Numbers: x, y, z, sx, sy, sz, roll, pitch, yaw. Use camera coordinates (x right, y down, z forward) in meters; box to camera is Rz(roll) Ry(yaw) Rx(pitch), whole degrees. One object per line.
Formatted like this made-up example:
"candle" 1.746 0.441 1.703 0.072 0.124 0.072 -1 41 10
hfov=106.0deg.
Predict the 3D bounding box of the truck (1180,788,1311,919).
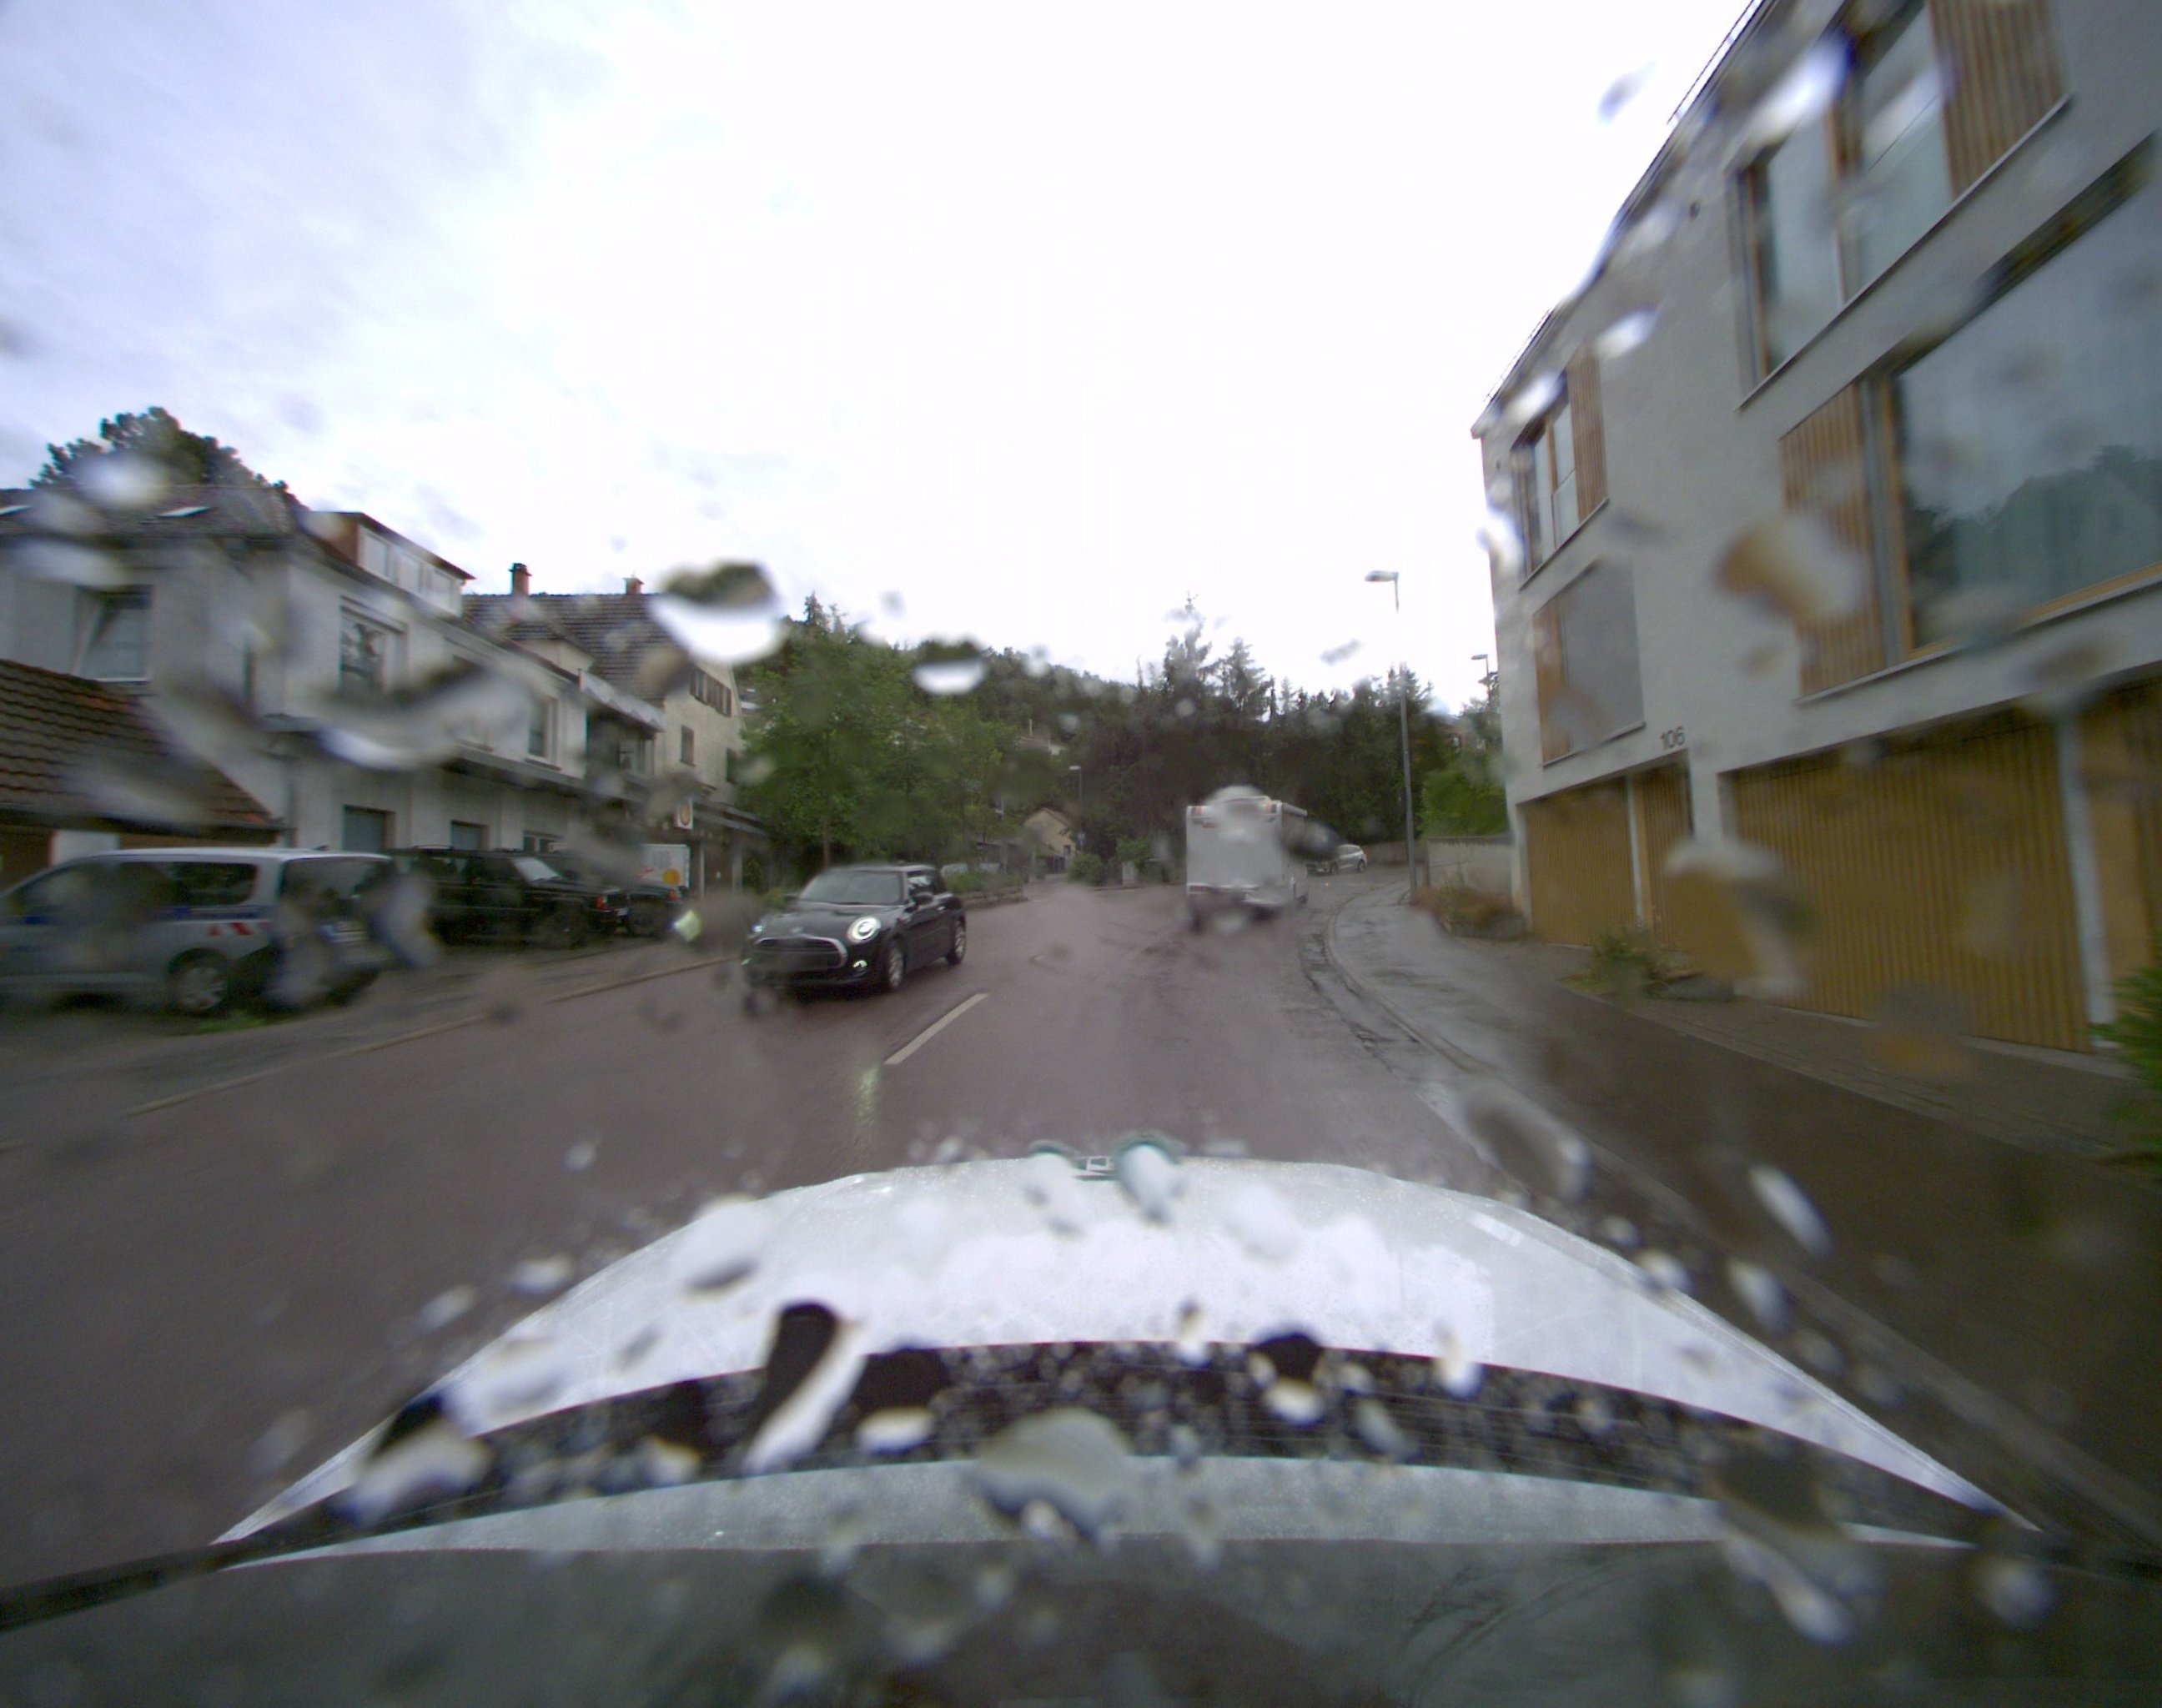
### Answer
"truck" 4.400 -0.011 20.778 2.495 2.817 6.231 0 0 19

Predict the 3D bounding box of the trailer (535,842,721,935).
"trailer" -11.457 0.826 20.938 3.967 2.102 1.937 -2 -1 -25

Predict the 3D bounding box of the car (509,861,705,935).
"car" -10.389 0.923 18.122 3.338 1.485 1.831 0 0 -13

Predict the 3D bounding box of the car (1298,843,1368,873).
"car" 12.530 0.164 40.345 1.580 1.413 4.262 -1 0 44

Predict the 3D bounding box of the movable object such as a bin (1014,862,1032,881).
"movable object such as a bin" -3.740 1.131 52.247 0.845 1.198 0.937 -1 0 16

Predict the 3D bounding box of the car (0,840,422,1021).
"car" -10.333 0.775 9.201 4.093 1.800 2.000 0 0 0

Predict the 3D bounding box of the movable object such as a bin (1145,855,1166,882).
"movable object such as a bin" 3.209 0.620 35.063 0.670 1.139 0.620 0 0 -32

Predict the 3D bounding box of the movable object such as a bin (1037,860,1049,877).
"movable object such as a bin" -2.767 1.040 58.861 0.699 1.222 0.593 -1 0 19

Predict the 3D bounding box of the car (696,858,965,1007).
"car" -2.711 0.769 9.726 1.667 1.405 3.685 0 0 7

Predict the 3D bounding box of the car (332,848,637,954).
"car" -10.688 0.793 14.924 4.079 1.774 1.792 0 0 -12

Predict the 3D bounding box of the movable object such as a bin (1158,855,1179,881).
"movable object such as a bin" 3.824 0.607 35.440 0.708 1.088 0.555 0 0 -32
